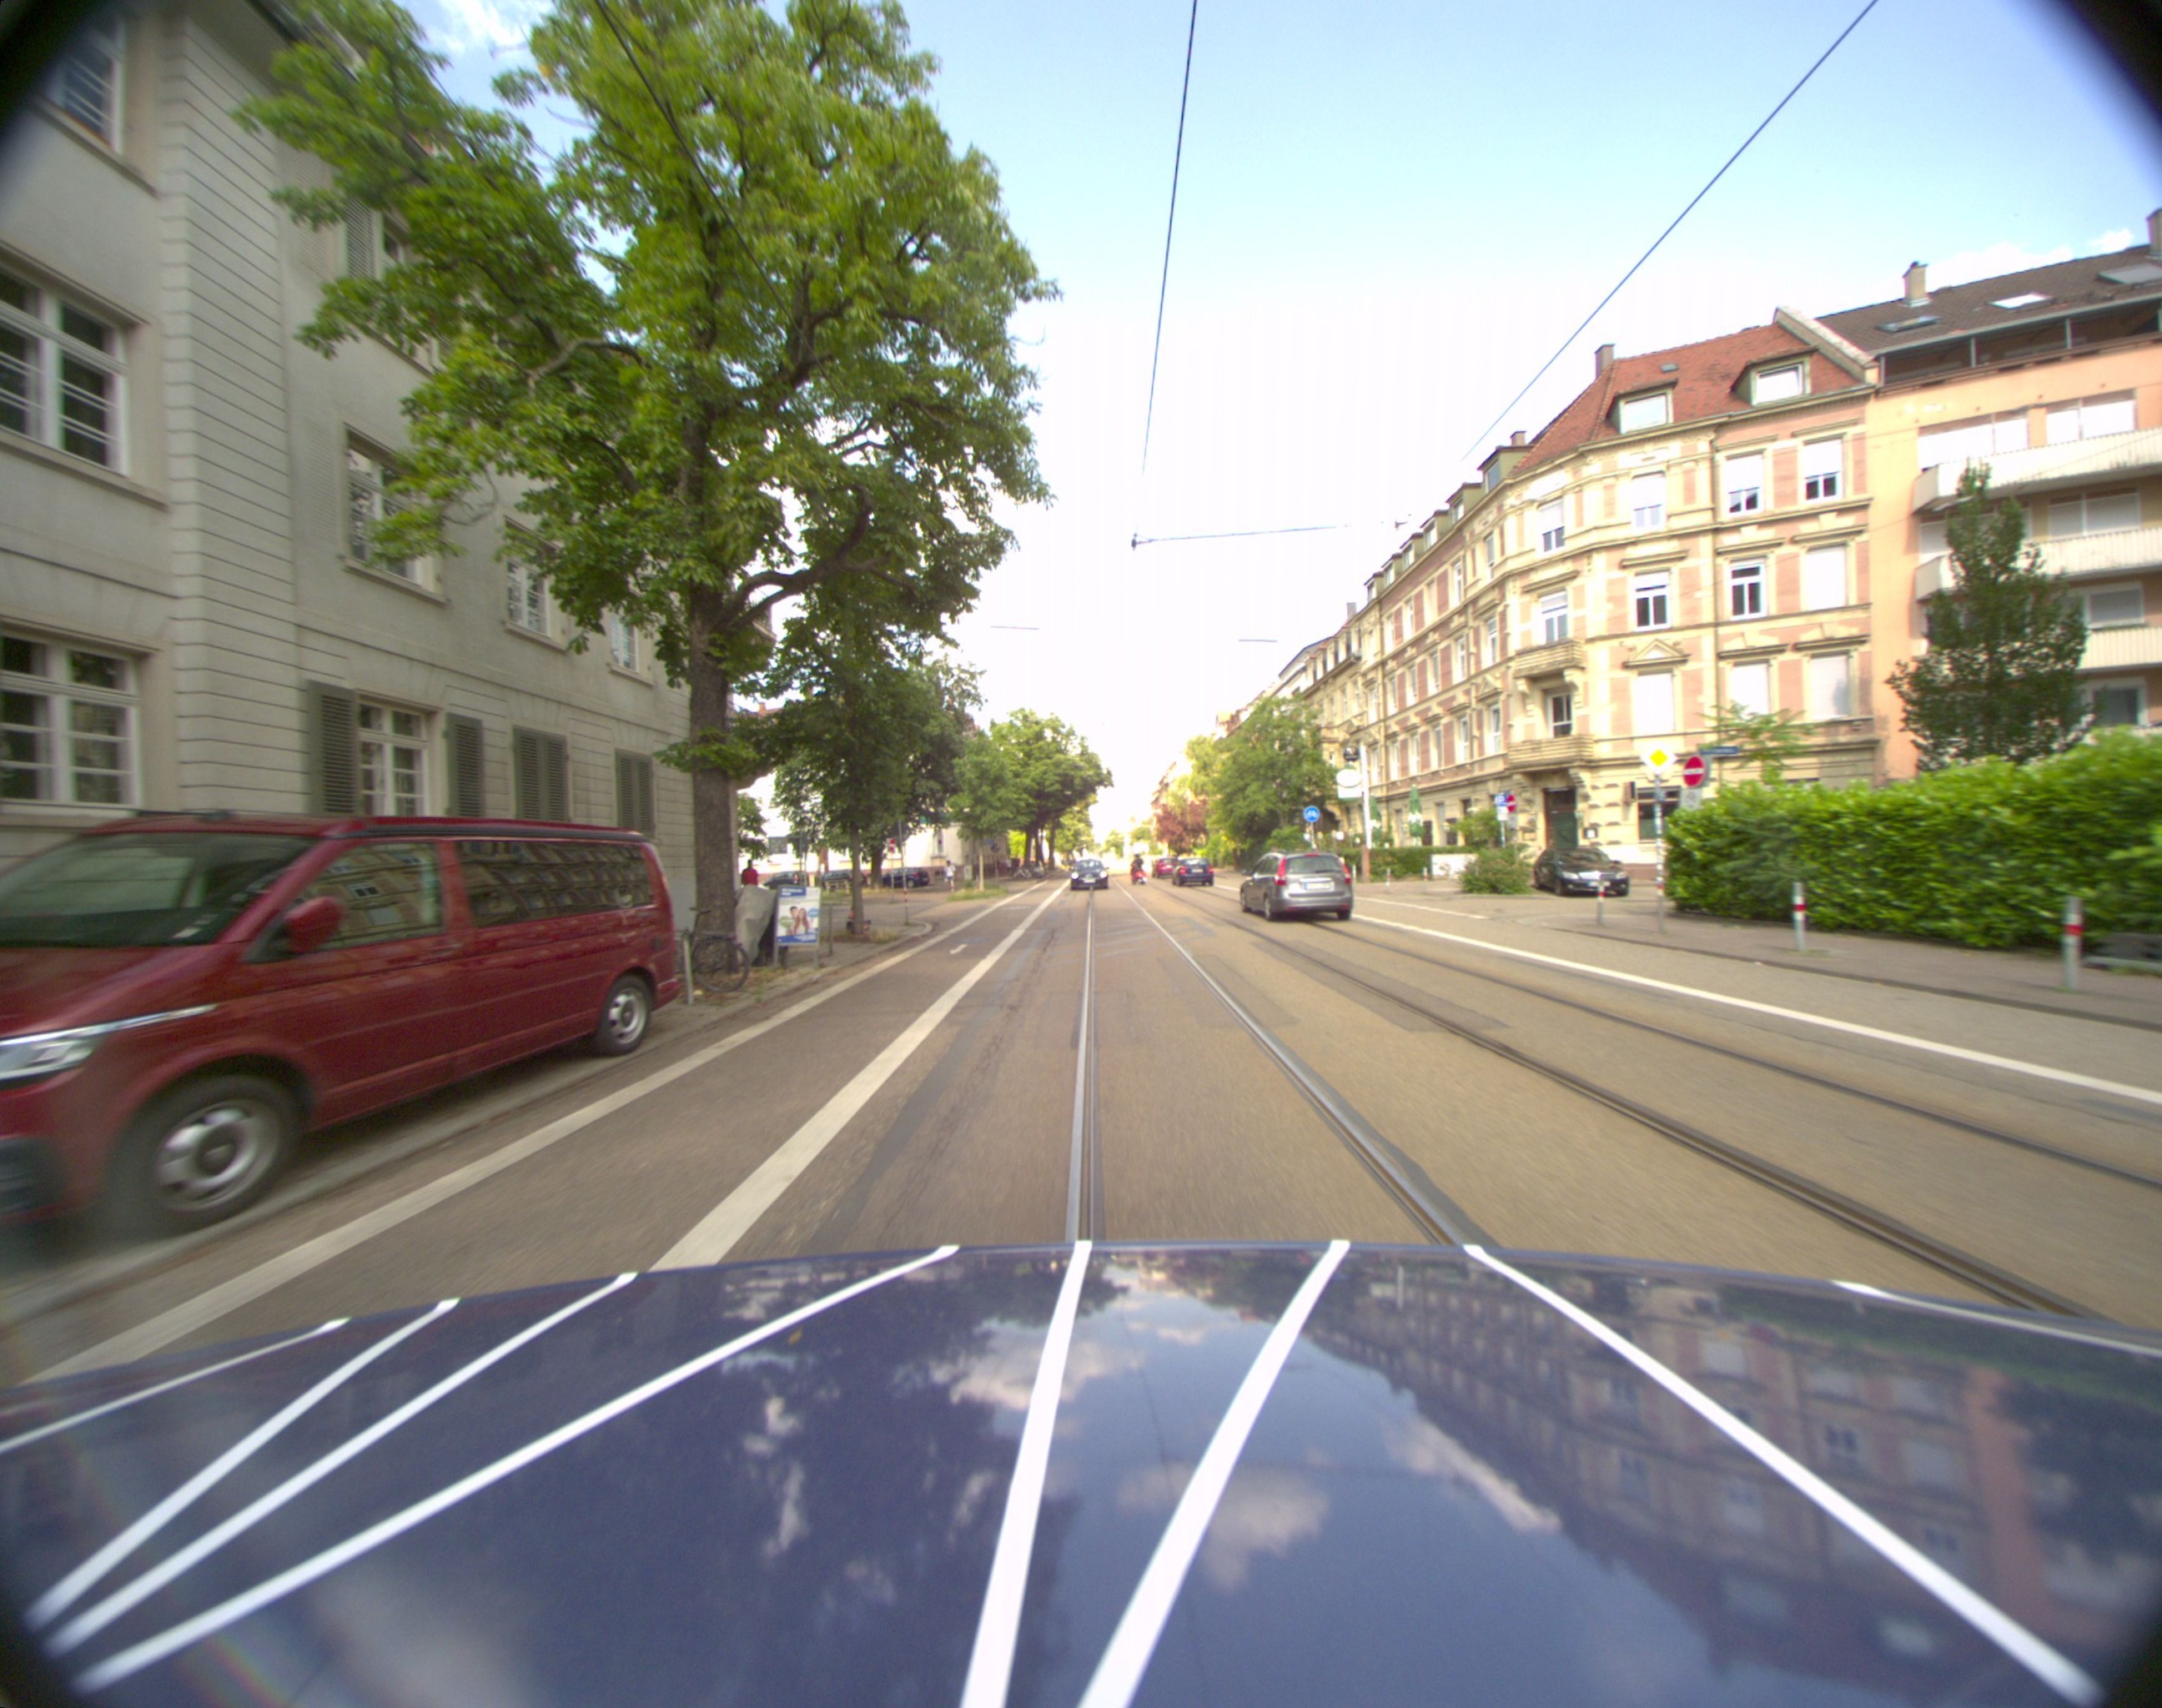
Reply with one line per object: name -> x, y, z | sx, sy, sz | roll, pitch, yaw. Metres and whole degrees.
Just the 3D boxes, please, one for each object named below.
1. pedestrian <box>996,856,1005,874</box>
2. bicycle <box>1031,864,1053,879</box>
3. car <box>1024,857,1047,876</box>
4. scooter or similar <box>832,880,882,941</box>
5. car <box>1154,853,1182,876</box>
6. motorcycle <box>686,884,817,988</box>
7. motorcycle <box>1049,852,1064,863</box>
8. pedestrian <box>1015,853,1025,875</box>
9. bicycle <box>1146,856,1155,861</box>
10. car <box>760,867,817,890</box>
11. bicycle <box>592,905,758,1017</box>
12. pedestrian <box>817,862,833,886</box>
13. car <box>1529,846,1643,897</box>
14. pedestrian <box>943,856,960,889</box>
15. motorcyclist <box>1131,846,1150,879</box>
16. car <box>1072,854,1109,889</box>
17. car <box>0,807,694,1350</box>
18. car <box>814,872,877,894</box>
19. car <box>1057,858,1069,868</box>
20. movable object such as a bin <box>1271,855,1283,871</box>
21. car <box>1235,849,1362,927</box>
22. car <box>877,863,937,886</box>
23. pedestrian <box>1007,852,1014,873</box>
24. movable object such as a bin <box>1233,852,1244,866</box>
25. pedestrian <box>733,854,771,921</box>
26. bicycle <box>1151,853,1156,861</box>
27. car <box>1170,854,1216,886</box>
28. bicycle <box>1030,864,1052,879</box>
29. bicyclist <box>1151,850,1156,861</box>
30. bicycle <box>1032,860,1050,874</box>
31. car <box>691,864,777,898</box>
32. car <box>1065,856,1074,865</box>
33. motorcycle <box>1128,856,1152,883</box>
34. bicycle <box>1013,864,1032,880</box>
pedestrian -> -7.145, 0.961, 67.626 | 0.582, 1.630, 0.976 | -2, 0, 1
bicycle -> -3.064, 1.358, 59.371 | 1.650, 1.064, 0.348 | -2, 1, 5
car -> -3.796, 1.024, 63.990 | 1.589, 1.436, 3.898 | -2, 0, 1
scooter or similar -> -5.089, 1.249, 17.353 | 0.533, 1.244, 1.720 | -2, 0, 2
car -> 5.815, 0.676, 51.060 | 1.598, 1.432, 3.936 | -1, 0, 3
motorcycle -> -5.033, 1.198, 11.864 | 0.859, 1.314, 2.445 | -2, 0, 2
motorcycle -> -3.362, 0.510, 103.956 | 0.812, 1.485, 2.065 | -2, 0, -43
pedestrian -> -5.465, 0.907, 68.314 | 0.755, 1.878, 0.886 | -2, 0, 1
bicycle -> 13.516, 0.877, 147.887 | 1.750, 0.936, 0.484 | 0, 1, 25
car -> -21.867, 1.837, 56.842 | 3.922, 1.502, 1.734 | -2, 0, 28
bicycle -> -4.847, 1.268, 9.132 | 1.614, 1.196, 0.589 | -2, 1, -2
pedestrian -> -20.010, 1.567, 59.312 | 0.729, 1.823, 0.829 | -2, 1, 31
car -> 15.572, 0.490, 23.722 | 1.889, 1.356, 4.969 | -3, 0, 21
pedestrian -> -7.455, 1.057, 43.775 | 0.619, 1.823, 1.031 | -2, 0, 7
motorcyclist -> 3.142, 0.455, 40.105 | 0.741, 1.704, 0.920 | -2, 1, -9
car -> 0.492, 0.809, 37.378 | 1.693, 1.568, 4.157 | -2, 0, 1
car -> -4.786, 0.826, 4.928 | 1.900, 1.929, 4.950 | -2, 0, 1
car -> -16.836, 2.080, 54.249 | 4.246, 1.443, 1.734 | -2, 0, 28
car -> -2.858, 1.370, 118.941 | 1.693, 1.380, 4.000 | -2, 0, 0
movable object such as a bin -> 11.899, 0.557, 46.147 | 0.580, 0.919, 0.641 | -2, 0, 1
car -> 4.800, 0.688, 17.407 | 1.731, 1.531, 4.277 | -1, 0, 1
car -> -11.801, 1.398, 51.581 | 3.566, 1.443, 1.734 | -2, 0, 24
pedestrian -> -6.304, 0.789, 68.188 | 0.506, 1.841, 0.687 | -2, 0, 1
movable object such as a bin -> 13.222, 0.427, 63.720 | 0.774, 1.101, 0.734 | -2, 0, 1
pedestrian -> -9.742, 0.998, 22.544 | 0.903, 1.924, 0.976 | 3, -4, -21
bicycle -> 9.213, 0.420, 96.528 | 0.570, 0.984, 1.918 | -2, 0, 3
car -> 5.390, 0.737, 37.017 | 1.632, 1.399, 4.129 | -3, 0, 1
bicycle -> -3.084, 1.360, 59.026 | 1.650, 1.064, 0.348 | -2, 1, 5
bicyclist -> 9.202, 0.160, 96.562 | 0.566, 1.417, 0.942 | -2, 0, 3
bicycle -> -3.630, 1.145, 68.282 | 1.490, 1.213, 0.518 | -2, 1, 7
car -> -15.914, 1.245, 34.812 | 3.610, 1.489, 1.734 | -2, -2, 28
car -> -2.187, 1.261, 148.128 | 1.693, 1.537, 3.617 | -2, 0, 0
motorcycle -> 3.120, 0.825, 40.230 | 0.742, 1.352, 2.087 | -2, 0, -9
bicycle -> -4.207, 1.305, 54.310 | 1.271, 1.060, 0.478 | -3, 0, 0
